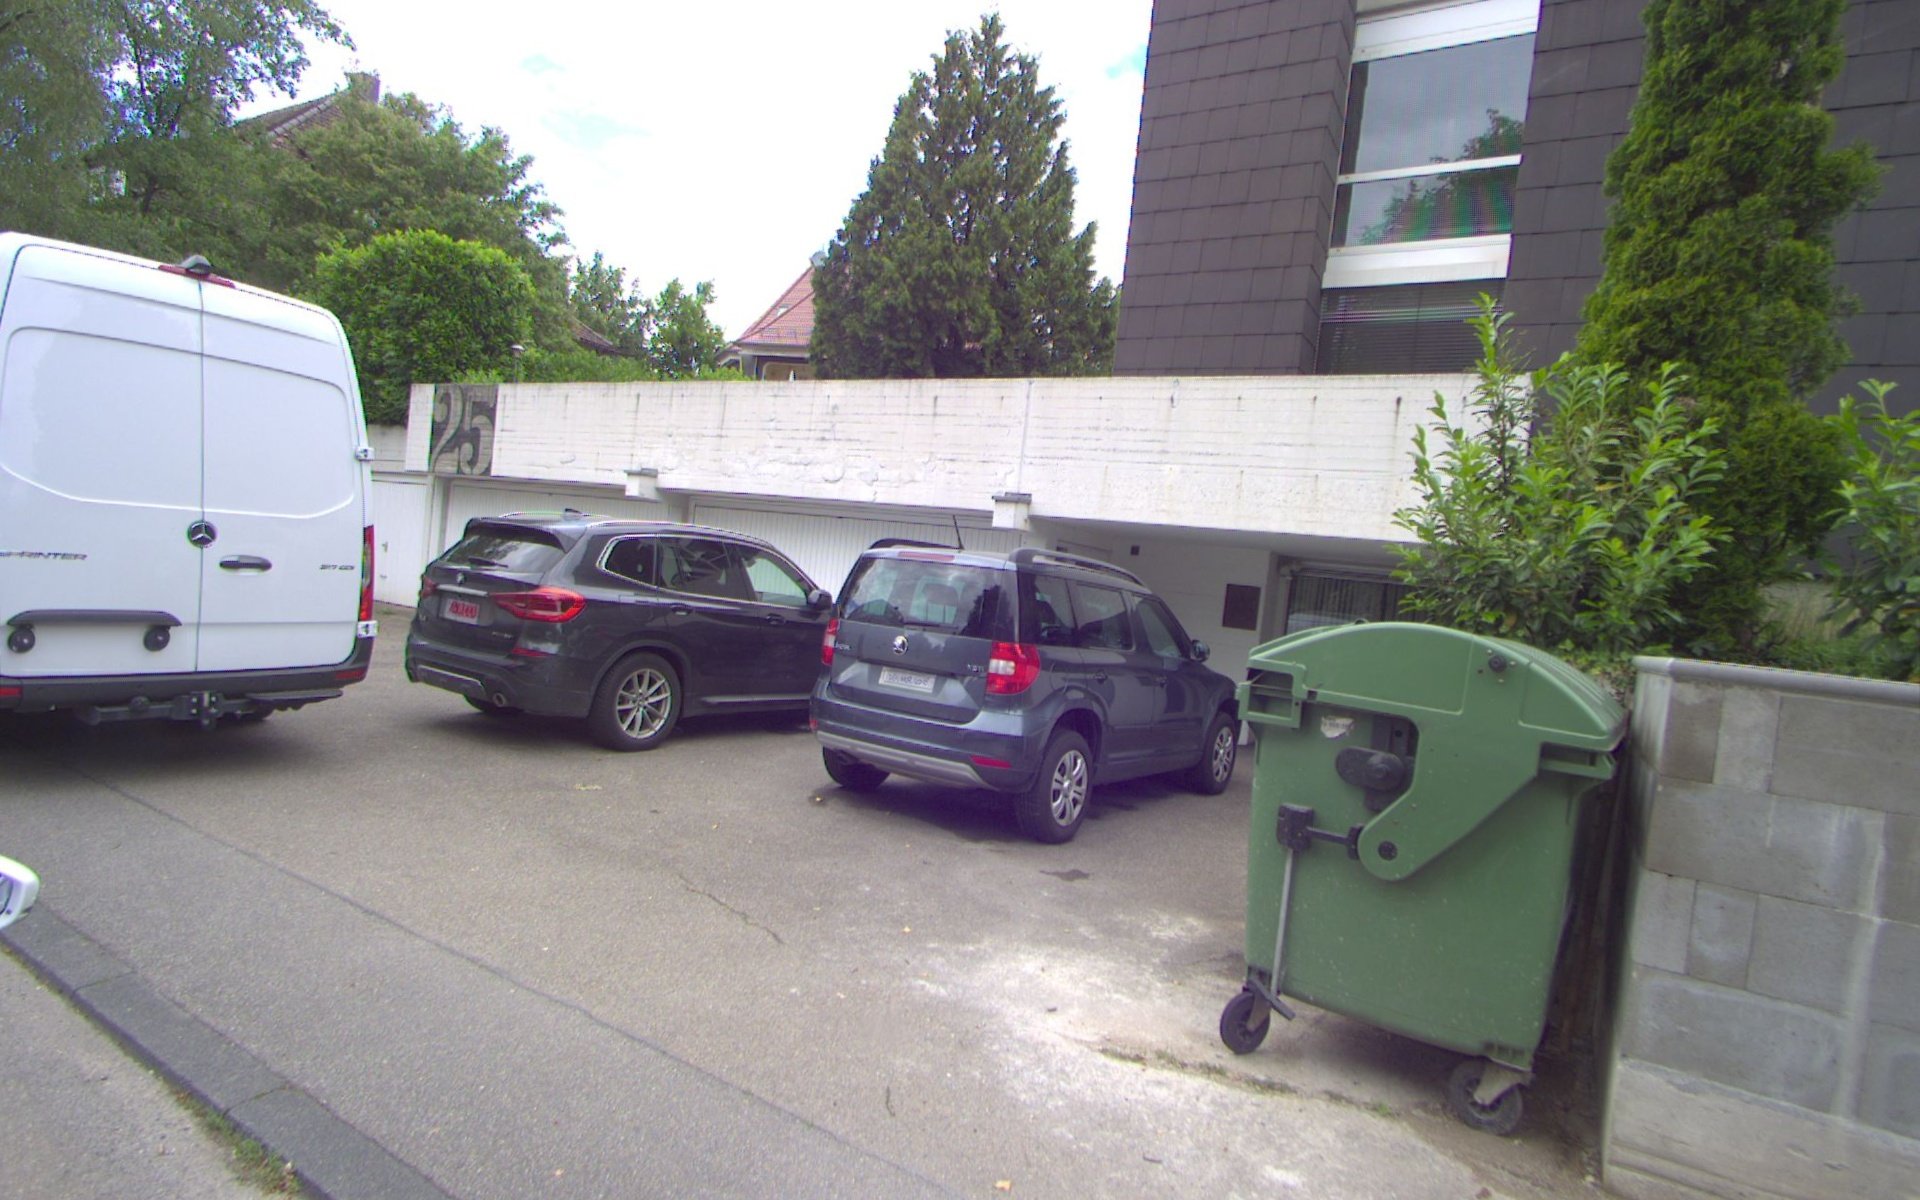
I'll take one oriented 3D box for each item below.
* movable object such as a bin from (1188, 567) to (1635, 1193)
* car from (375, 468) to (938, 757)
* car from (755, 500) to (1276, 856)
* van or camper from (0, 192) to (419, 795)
[{"bbox_3d":[1.500,0.748,3.301,1.016,1.550,1.034,7,2,33],"label":"movable object such as a bin"},{"bbox_3d":[-2.212,0.144,8.589,1.710,1.772,4.418,7,1,33],"label":"car"},{"bbox_3d":[0.683,0.473,7.307,1.804,1.772,3.973,7,1,35],"label":"car"},{"bbox_3d":[-6.557,-0.713,6.813,6.432,2.653,1.995,7,1,32],"label":"van or camper"}]
